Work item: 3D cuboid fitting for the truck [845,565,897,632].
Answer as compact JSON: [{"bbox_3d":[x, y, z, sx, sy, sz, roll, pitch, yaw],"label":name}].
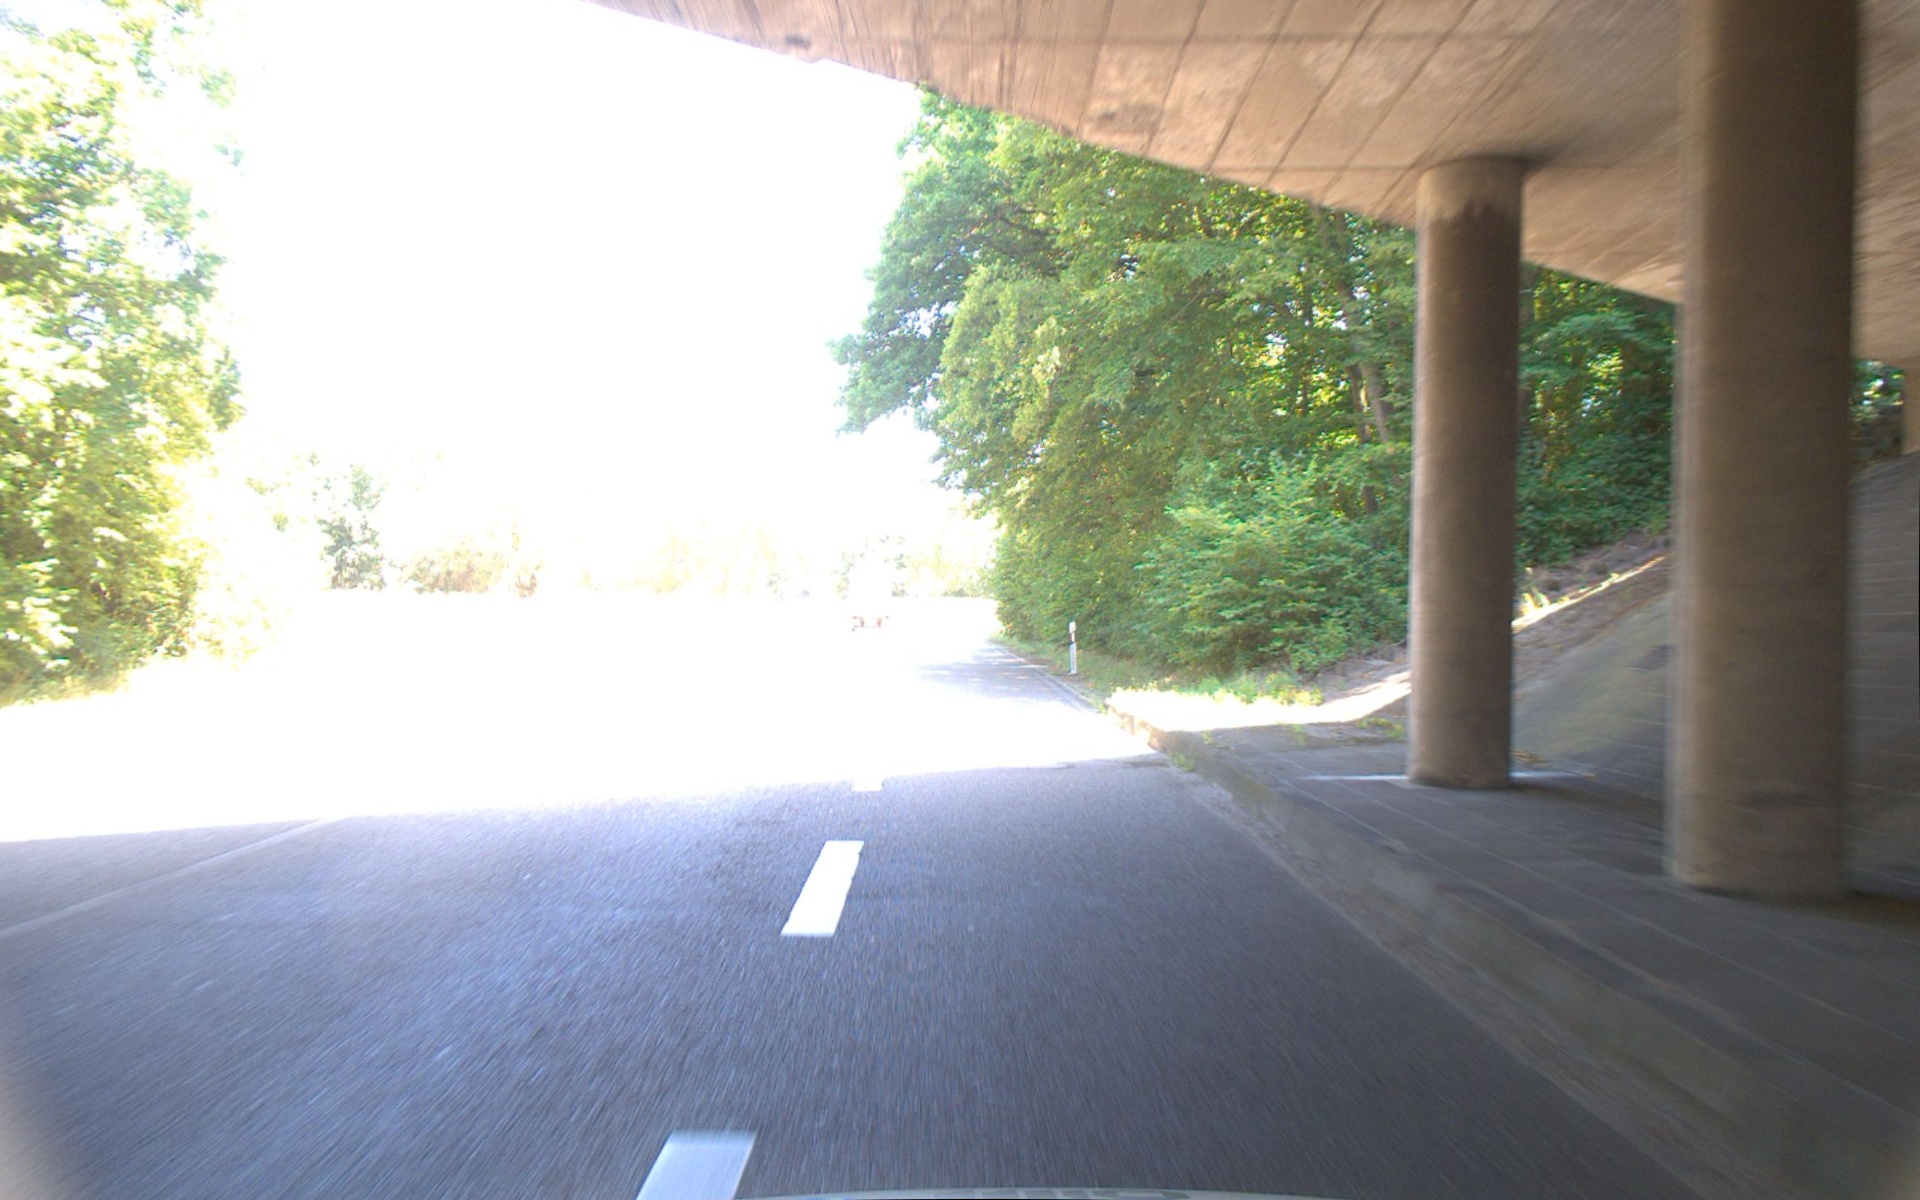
[{"bbox_3d":[-4.398,-0.113,82.377,2.483,3.190,5.358,-1,1,-3],"label":"truck"}]
